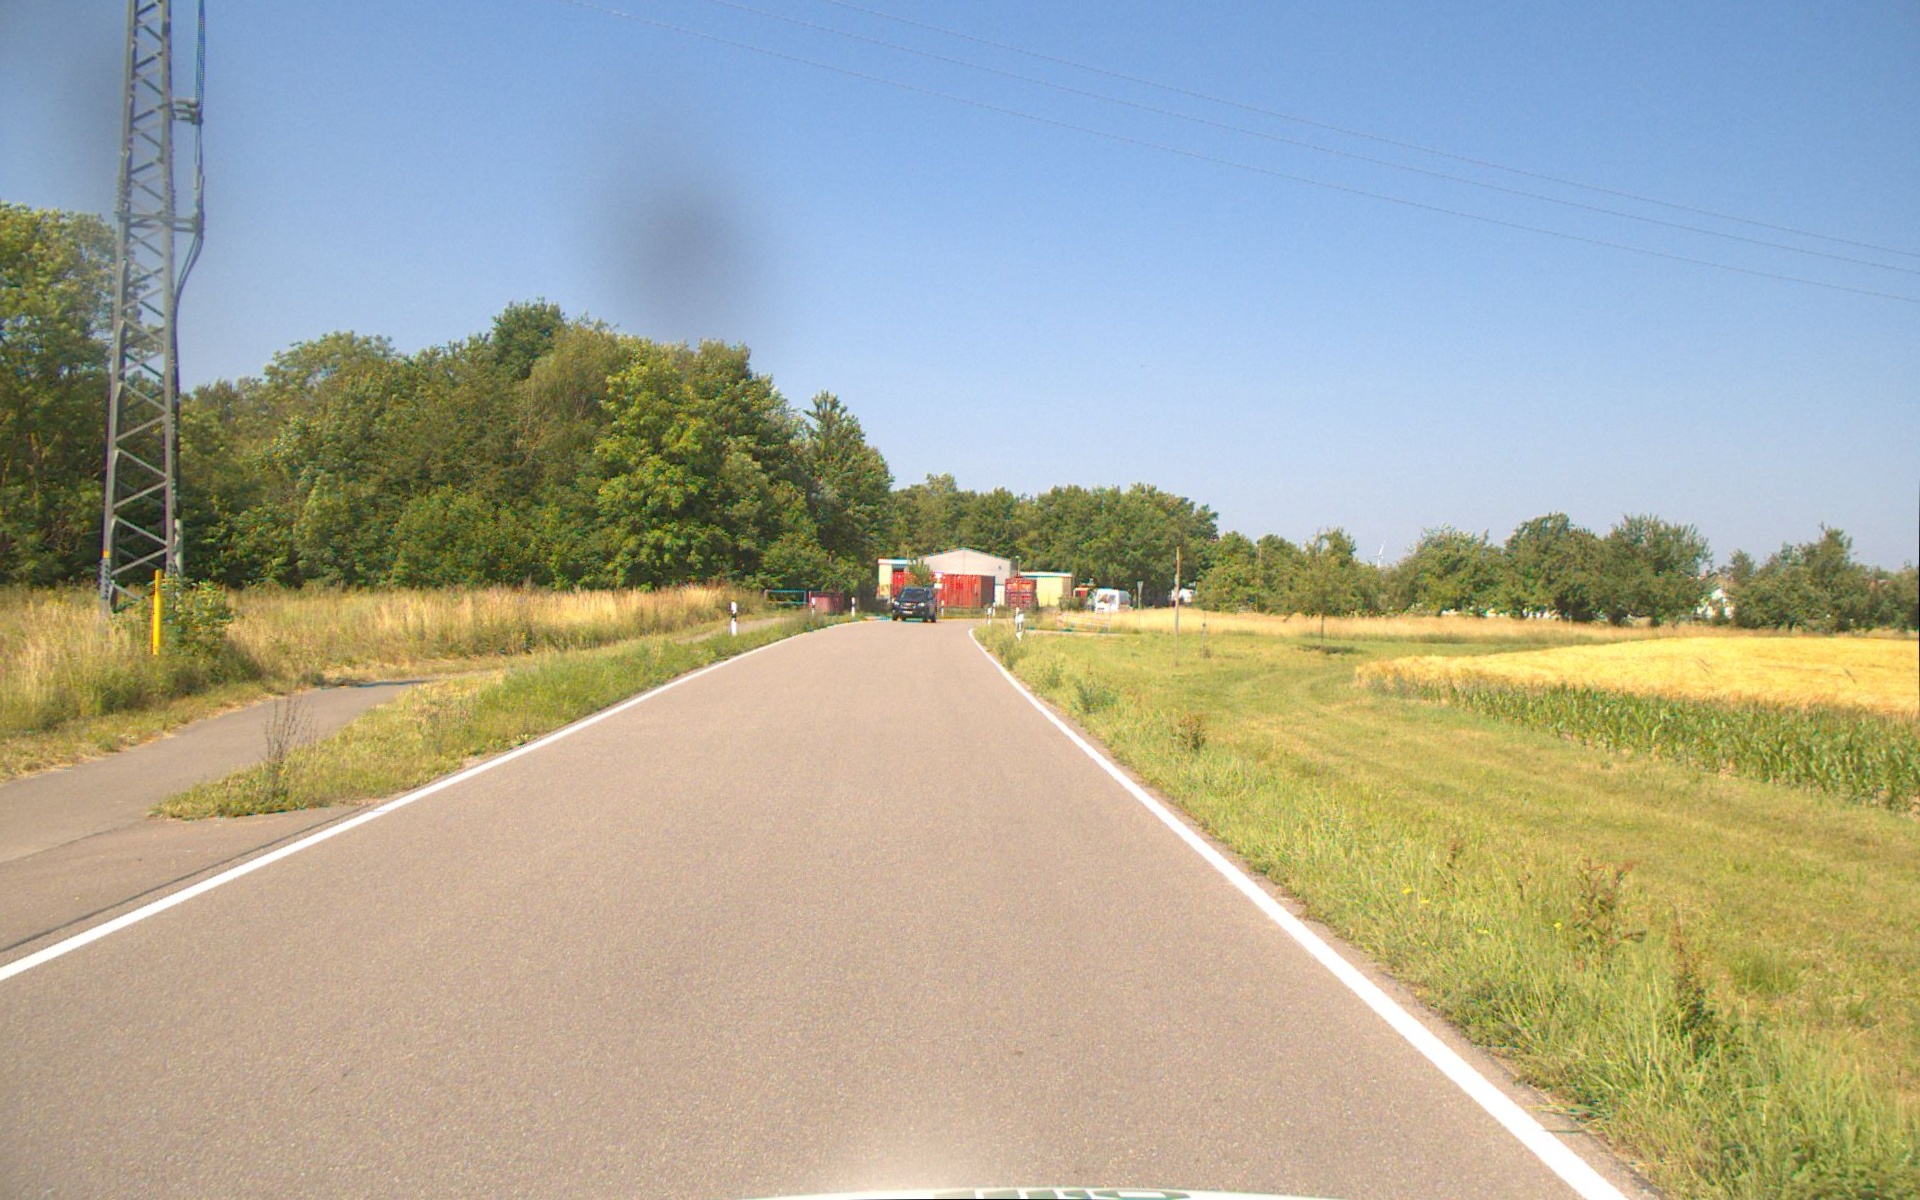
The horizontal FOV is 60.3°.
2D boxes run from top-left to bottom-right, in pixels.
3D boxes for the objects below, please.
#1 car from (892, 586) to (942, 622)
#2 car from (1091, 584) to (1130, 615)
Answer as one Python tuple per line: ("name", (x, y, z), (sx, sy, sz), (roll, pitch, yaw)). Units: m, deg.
("car", (-2.218, 0.198, 86.504), (1.826, 1.783, 4.300), (1, 0, 8))
("car", (11.933, -0.031, 130.850), (1.952, 2.306, 4.727), (1, 0, 19))
